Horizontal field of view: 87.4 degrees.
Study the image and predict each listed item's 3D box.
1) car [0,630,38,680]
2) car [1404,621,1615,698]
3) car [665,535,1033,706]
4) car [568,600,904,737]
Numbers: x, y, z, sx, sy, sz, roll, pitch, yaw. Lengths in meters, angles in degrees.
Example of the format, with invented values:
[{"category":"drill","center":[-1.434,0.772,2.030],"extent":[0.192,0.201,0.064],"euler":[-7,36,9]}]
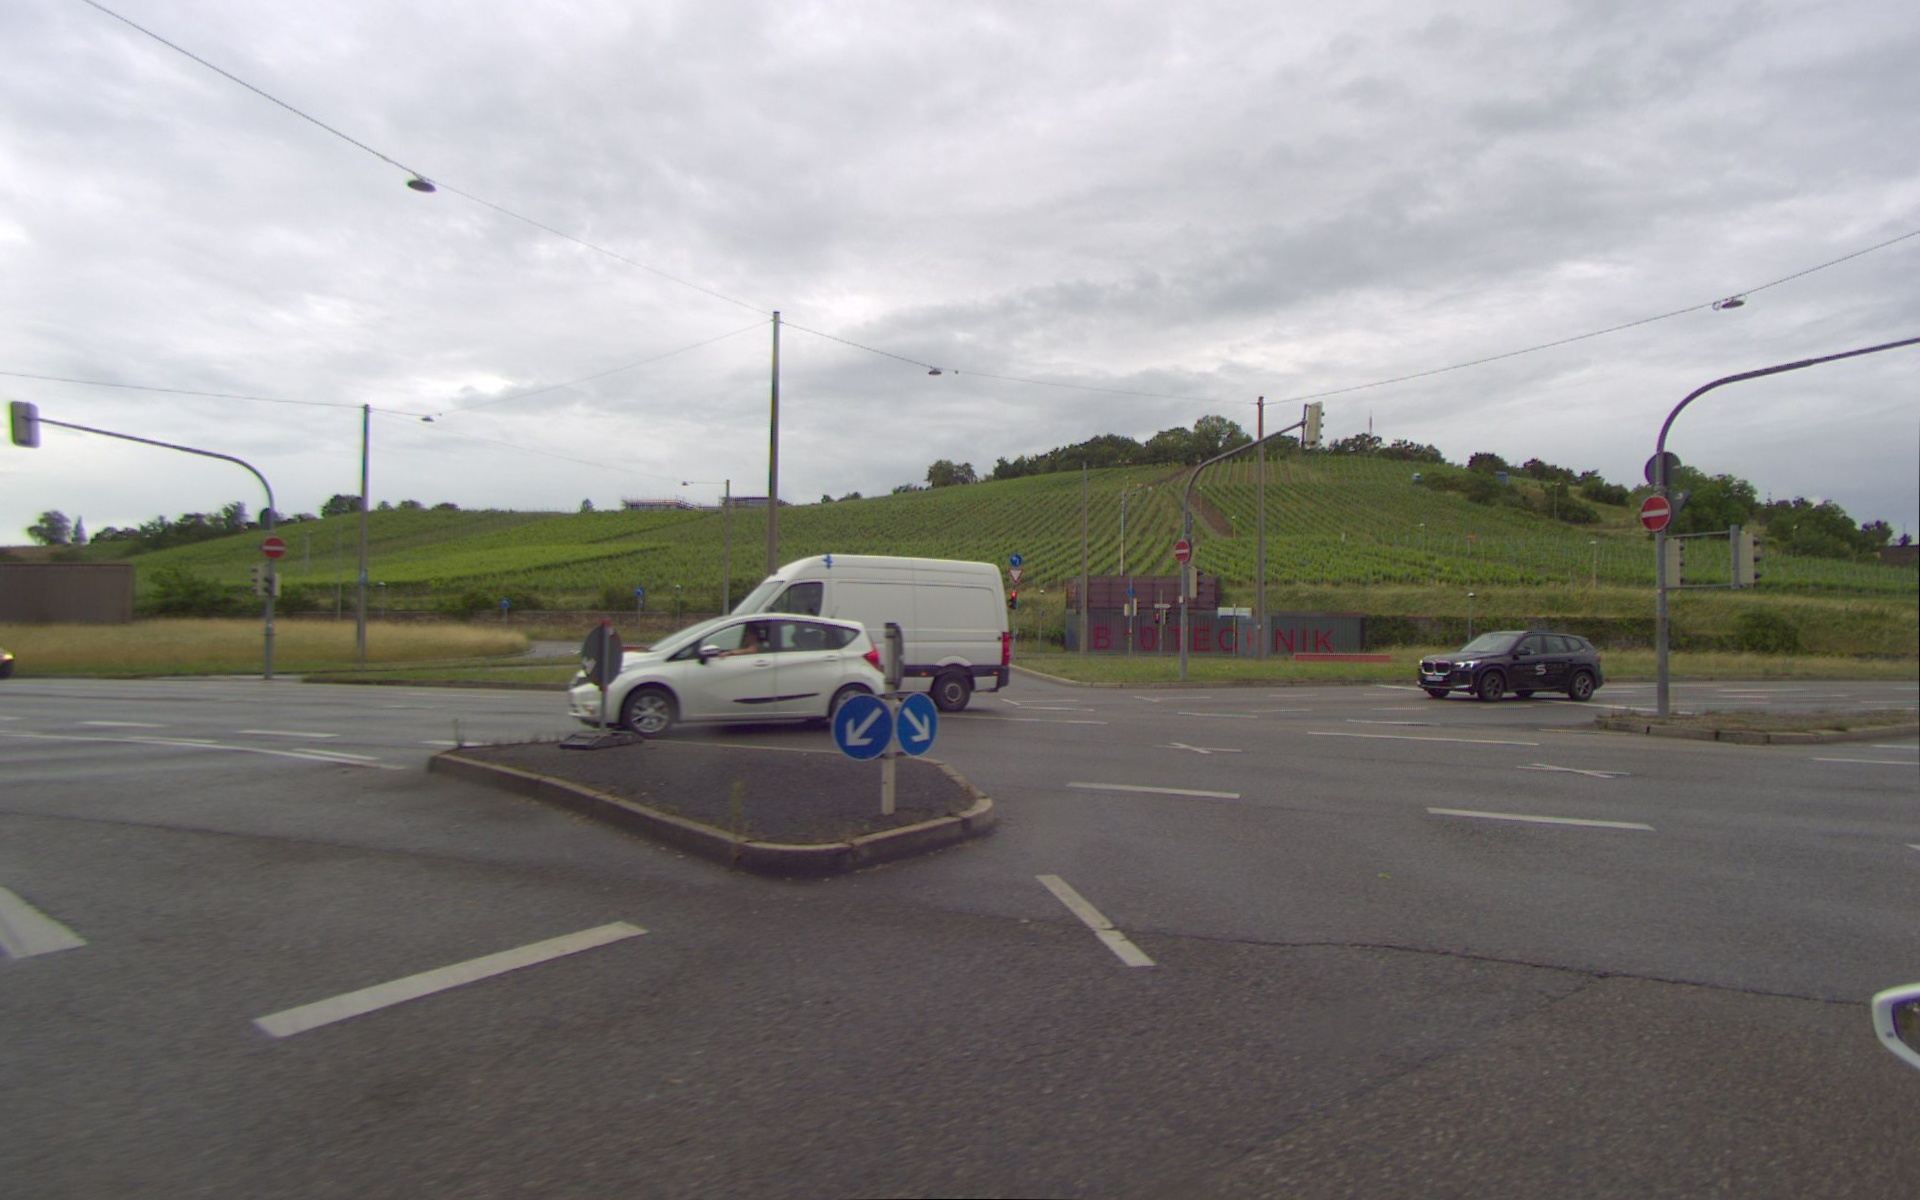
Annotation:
[{"category":"car","center":[-28.535,1.514,28.472],"extent":[3.920,1.307,1.800],"euler":[2,0,17]},{"category":"car","center":[13.087,1.419,23.947],"extent":[4.435,1.658,1.775],"euler":[2,0,-16]},{"category":"car","center":[-1.826,0.463,17.535],"extent":[6.091,2.592,1.987],"euler":[2,-4,-27]},{"category":"car","center":[-2.898,0.832,13.072],"extent":[3.949,1.533,1.744],"euler":[2,0,-27]}]
